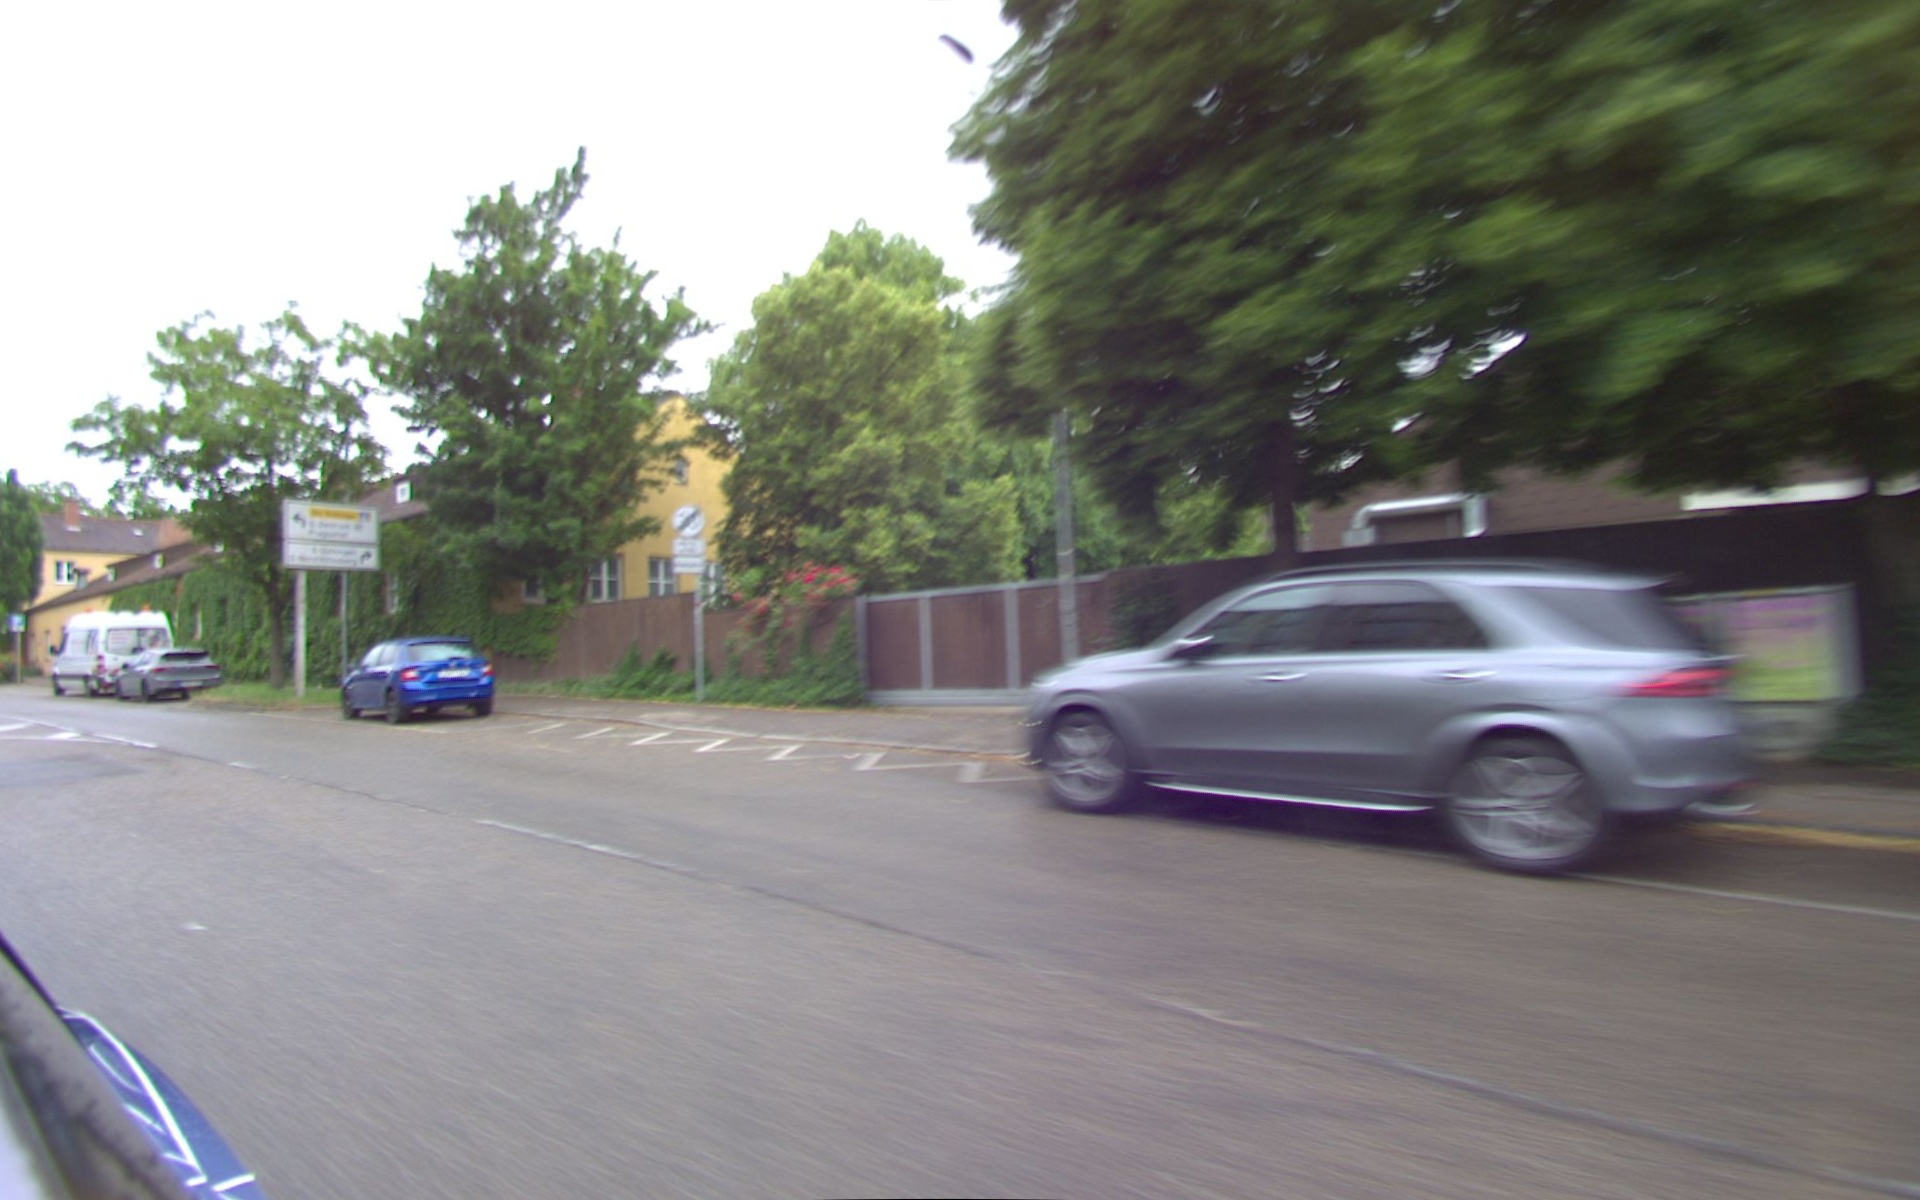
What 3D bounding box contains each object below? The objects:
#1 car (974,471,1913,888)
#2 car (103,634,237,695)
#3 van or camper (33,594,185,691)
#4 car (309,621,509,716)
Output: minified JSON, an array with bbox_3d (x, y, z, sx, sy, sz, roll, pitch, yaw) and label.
[{"bbox_3d":[2.773,0.399,6.948,5.411,1.800,1.972,-2,-1,43],"label":"car"},{"bbox_3d":[-22.432,1.789,28.691,4.416,1.524,1.975,-2,-1,38],"label":"car"},{"bbox_3d":[-27.213,1.356,32.280,6.130,2.786,2.319,-3,-1,36],"label":"van or camper"},{"bbox_3d":[-10.266,1.196,18.728,4.184,1.481,1.972,-2,-1,42],"label":"car"}]
